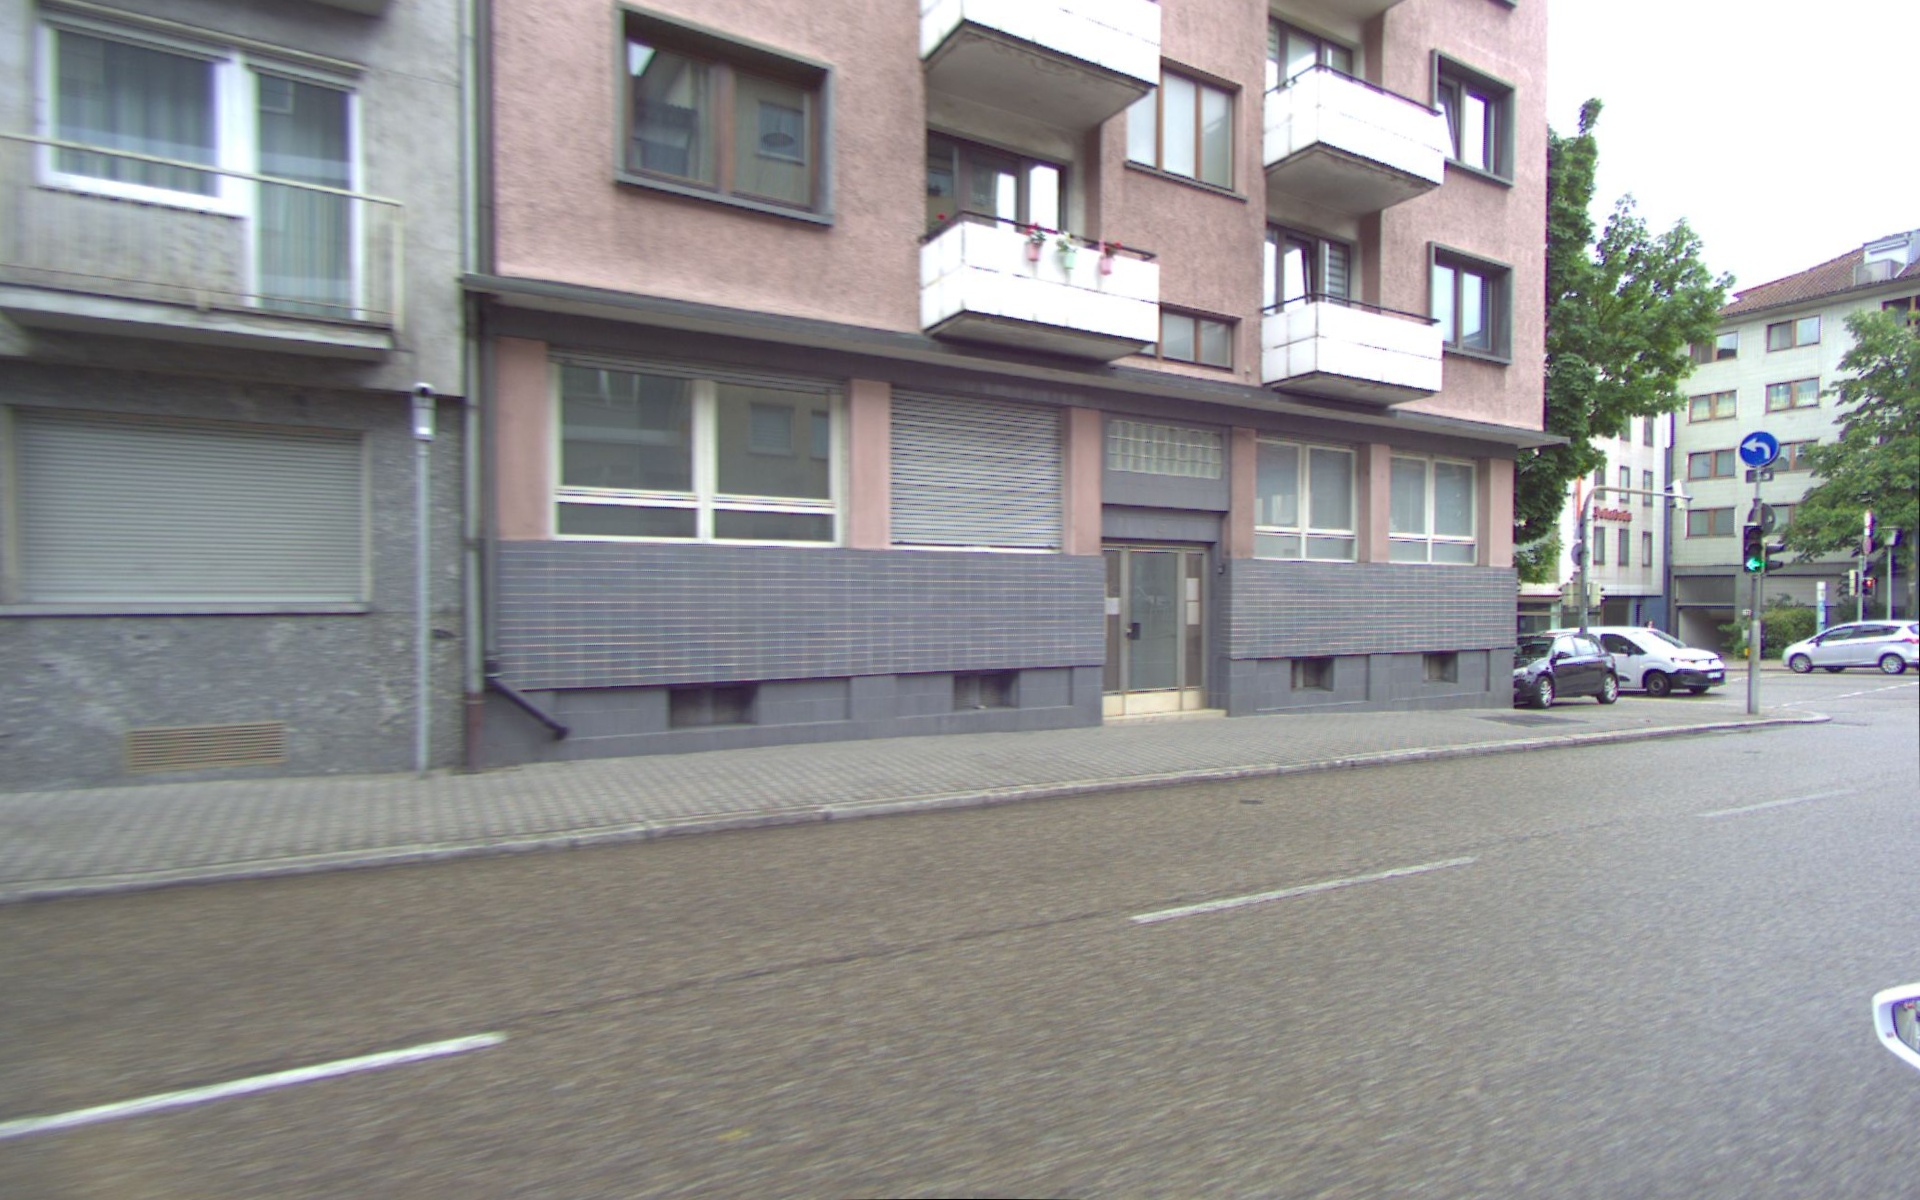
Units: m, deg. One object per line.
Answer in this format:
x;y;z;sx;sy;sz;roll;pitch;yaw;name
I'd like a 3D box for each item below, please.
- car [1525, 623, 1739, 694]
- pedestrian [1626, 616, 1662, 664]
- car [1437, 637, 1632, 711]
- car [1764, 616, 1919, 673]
18.040;1.560;27.241;1.787;1.737;4.519;0;-3;-25;car
27.434;1.590;40.286;0.740;1.842;0.917;-2;1;0;pedestrian
11.788;1.474;20.568;3.953;1.377;1.724;2;-3;-30;car
27.743;1.331;30.970;1.993;1.621;4.250;0;-1;-15;car
